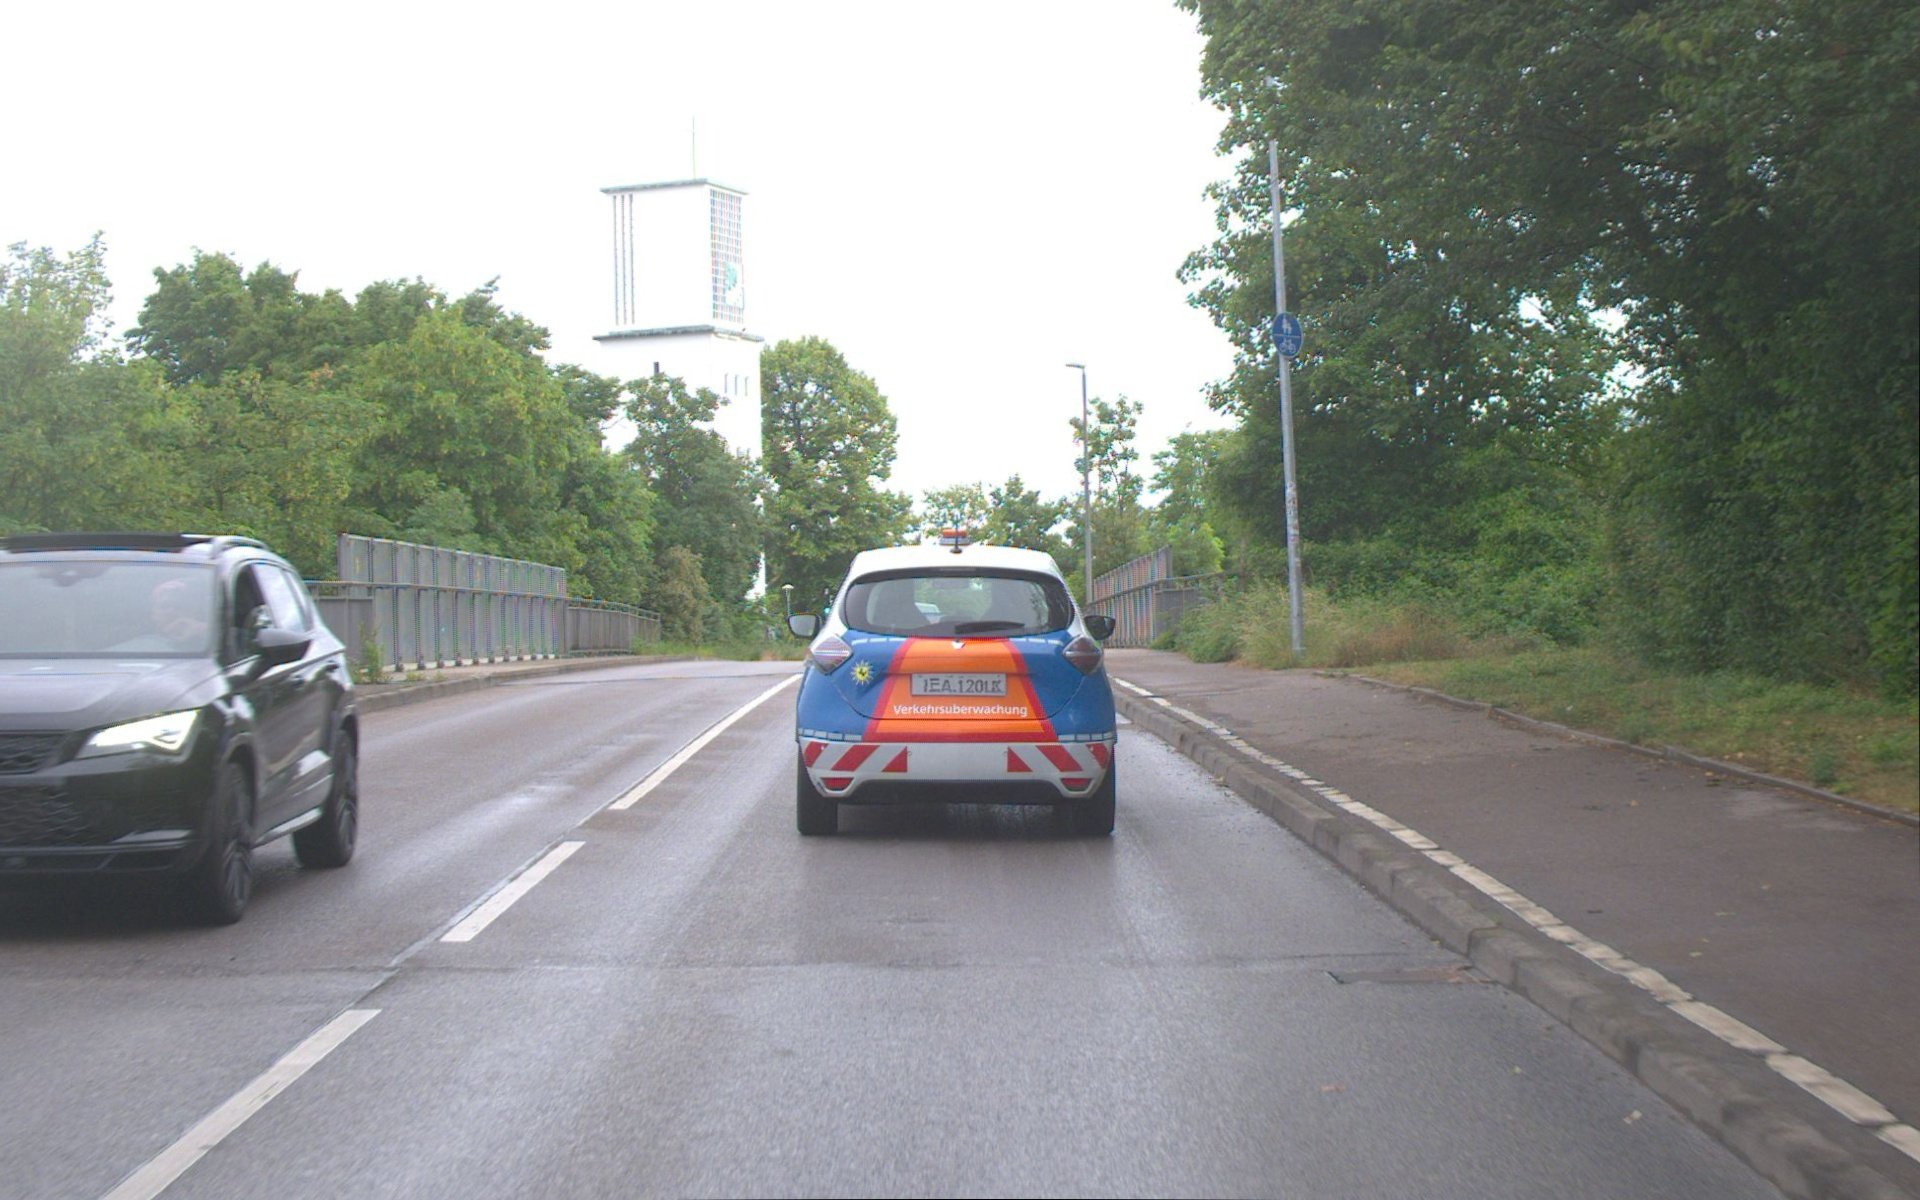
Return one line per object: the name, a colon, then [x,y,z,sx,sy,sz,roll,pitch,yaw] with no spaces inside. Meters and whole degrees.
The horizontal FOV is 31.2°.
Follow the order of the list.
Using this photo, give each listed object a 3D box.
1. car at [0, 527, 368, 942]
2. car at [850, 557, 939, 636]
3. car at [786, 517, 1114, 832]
car: [-3.815,0.483,15.229,1.730,1.579,4.081,-1,1,-1]
car: [-1.387,-0.104,74.146,1.802,1.584,3.563,-2,1,0]
car: [-0.069,0.372,19.412,1.657,1.587,3.568,-1,0,-1]
